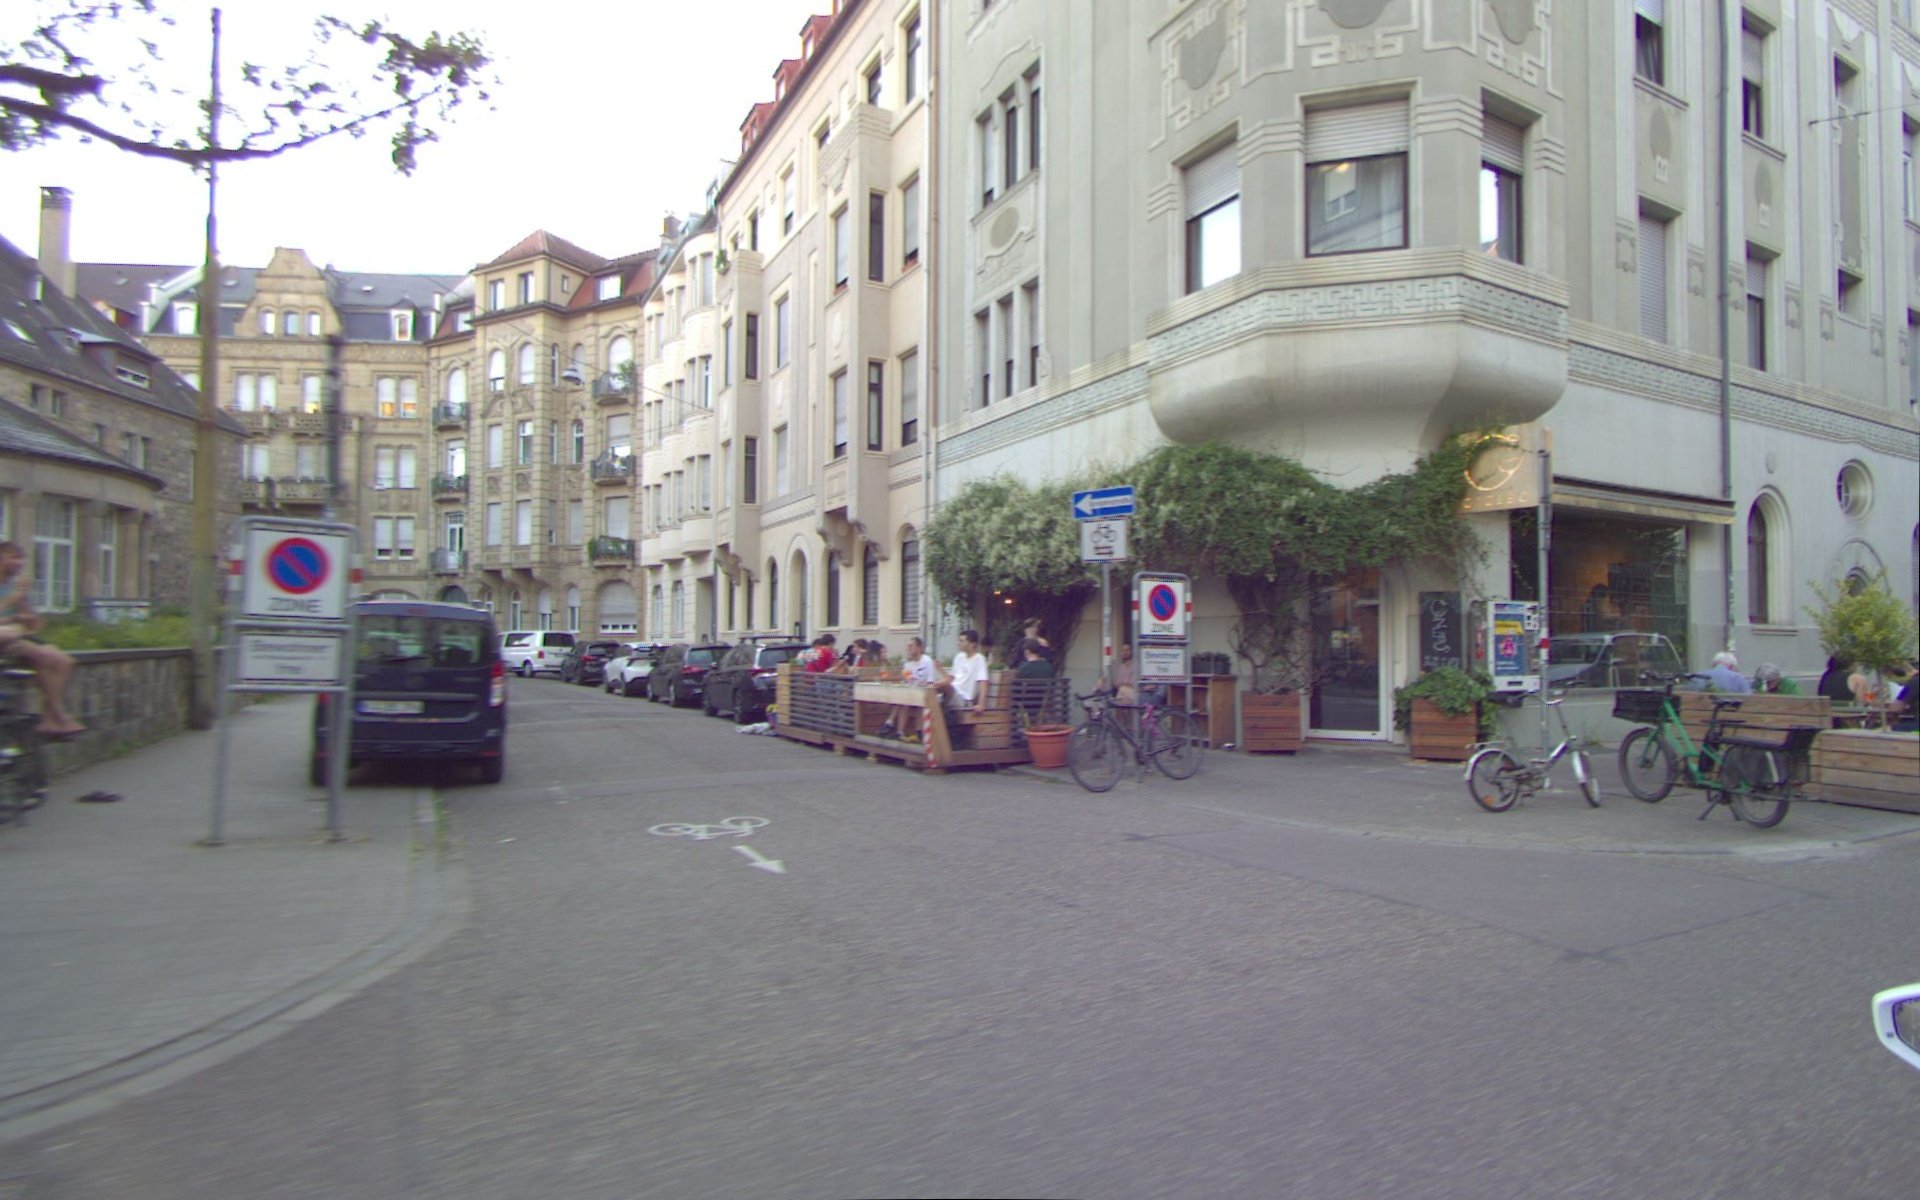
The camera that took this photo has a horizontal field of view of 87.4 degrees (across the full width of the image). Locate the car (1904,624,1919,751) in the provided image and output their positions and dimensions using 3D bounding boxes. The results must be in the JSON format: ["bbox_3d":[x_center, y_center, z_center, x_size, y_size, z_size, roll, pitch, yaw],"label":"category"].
[{"bbox_3d":[14.448,1.142,13.092,4.263,1.612,1.985,2,-2,-30],"label":"car"}]

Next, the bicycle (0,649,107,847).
[{"bbox_3d":[-6.417,0.921,6.751,0.548,1.149,2.131,1,-2,-28],"label":"bicycle"}]

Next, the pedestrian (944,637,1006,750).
[{"bbox_3d":[0.197,1.226,13.402,0.636,1.462,0.569,1,-2,-28],"label":"pedestrian"}]

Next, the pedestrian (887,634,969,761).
[{"bbox_3d":[-0.400,1.168,12.346,0.774,1.488,0.698,1,-2,-30],"label":"pedestrian"}]

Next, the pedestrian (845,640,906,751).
[{"bbox_3d":[-1.123,1.250,13.351,0.636,1.430,0.569,1,-2,-29],"label":"pedestrian"}]

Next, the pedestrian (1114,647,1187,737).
[{"bbox_3d":[2.700,1.280,14.255,0.769,1.230,0.688,1,-2,-28],"label":"pedestrian"}]

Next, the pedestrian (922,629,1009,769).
[{"bbox_3d":[0.063,1.125,11.722,0.774,1.560,0.698,1,-2,-30],"label":"pedestrian"}]

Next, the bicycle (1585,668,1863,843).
[{"bbox_3d":[5.993,1.154,8.068,0.491,1.109,2.116,0,-1,-4],"label":"bicycle"}]

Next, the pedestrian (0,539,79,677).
[{"bbox_3d":[-7.192,0.064,7.458,0.827,0.993,0.703,1,-2,-31],"label":"pedestrian"}]

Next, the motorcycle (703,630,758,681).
[{"bbox_3d":[-7.137,1.684,31.057,0.808,1.514,3.386,1,-2,-28],"label":"motorcycle"}]

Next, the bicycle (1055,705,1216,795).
[{"bbox_3d":[1.792,1.486,10.130,1.759,0.705,0.421,-1,-1,-32],"label":"bicycle"}]

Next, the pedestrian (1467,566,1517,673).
[{"bbox_3d":[8.597,0.318,16.235,0.512,1.676,0.536,1,-1,-29],"label":"pedestrian"}]

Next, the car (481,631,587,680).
[{"bbox_3d":[-18.016,2.313,42.394,5.086,1.884,1.802,0,-4,38],"label":"car"}]

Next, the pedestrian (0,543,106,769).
[{"bbox_3d":[-7.538,0.442,8.106,0.827,1.743,0.703,1,-2,-31],"label":"pedestrian"}]

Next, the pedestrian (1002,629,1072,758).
[{"bbox_3d":[0.922,1.104,12.091,0.637,1.488,0.569,1,-2,-31],"label":"pedestrian"}]

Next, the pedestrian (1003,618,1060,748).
[{"bbox_3d":[0.934,1.068,13.137,0.539,1.642,0.538,1,-2,-30],"label":"pedestrian"}]

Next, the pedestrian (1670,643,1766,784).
[{"bbox_3d":[7.557,1.104,10.016,0.696,1.342,0.535,1,-1,-29],"label":"pedestrian"}]

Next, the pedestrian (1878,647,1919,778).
[{"bbox_3d":[10.294,1.193,10.803,0.604,1.368,0.466,2,-1,-30],"label":"pedestrian"}]

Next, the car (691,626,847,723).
[{"bbox_3d":[-3.793,1.395,19.399,1.719,1.639,4.120,4,-4,-28],"label":"car"}]

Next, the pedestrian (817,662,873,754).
[{"bbox_3d":[-1.601,1.480,13.979,0.567,1.223,0.639,1,-2,-30],"label":"pedestrian"}]

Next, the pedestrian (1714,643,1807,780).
[{"bbox_3d":[8.287,1.128,10.404,0.696,1.342,0.535,1,-1,-29],"label":"pedestrian"}]

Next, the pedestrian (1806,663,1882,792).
[{"bbox_3d":[9.832,1.398,11.173,0.604,1.368,0.466,2,-1,-30],"label":"pedestrian"}]

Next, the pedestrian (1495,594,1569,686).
[{"bbox_3d":[7.550,0.523,13.259,0.739,1.169,0.554,2,-1,-30],"label":"pedestrian"}]

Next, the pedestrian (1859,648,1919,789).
[{"bbox_3d":[9.482,1.154,9.985,0.761,1.342,0.606,2,-1,-30],"label":"pedestrian"}]

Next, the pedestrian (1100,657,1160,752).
[{"bbox_3d":[2.280,1.382,13.456,0.599,1.230,0.528,1,-2,-29],"label":"pedestrian"}]

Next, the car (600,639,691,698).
[{"bbox_3d":[-9.278,1.960,29.435,1.719,1.567,4.120,4,-4,-28],"label":"car"}]

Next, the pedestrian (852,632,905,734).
[{"bbox_3d":[-1.253,1.257,15.434,0.637,1.520,0.569,1,-2,-31],"label":"pedestrian"}]

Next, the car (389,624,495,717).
[{"bbox_3d":[-10.496,1.344,20.266,1.700,1.674,4.181,1,-2,-29],"label":"car"}]

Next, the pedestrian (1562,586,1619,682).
[{"bbox_3d":[9.223,0.499,14.694,0.512,1.368,0.536,1,-1,-28],"label":"pedestrian"}]

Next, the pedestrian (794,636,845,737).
[{"bbox_3d":[-2.108,1.277,15.046,0.567,1.466,0.639,1,-2,-30],"label":"pedestrian"}]

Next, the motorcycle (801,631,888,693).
[{"bbox_3d":[-2.693,1.368,22.906,0.808,1.297,3.386,1,-2,-28],"label":"motorcycle"}]

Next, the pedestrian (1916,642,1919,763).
[{"bbox_3d":[11.178,1.161,11.288,0.534,1.368,0.514,2,-1,-32],"label":"pedestrian"}]

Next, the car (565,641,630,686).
[{"bbox_3d":[-13.844,2.383,38.212,1.719,1.567,3.765,4,-4,-28],"label":"car"}]

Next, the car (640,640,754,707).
[{"bbox_3d":[-6.486,1.747,24.479,1.719,1.448,4.120,4,-4,-28],"label":"car"}]

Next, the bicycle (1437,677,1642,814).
[{"bbox_3d":[4.877,1.194,8.447,1.690,1.026,0.423,0,-1,-16],"label":"bicycle"}]

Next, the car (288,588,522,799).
[{"bbox_3d":[-5.939,0.911,11.118,1.866,1.868,3.975,1,-2,-25],"label":"car"}]

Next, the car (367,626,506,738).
[{"bbox_3d":[-8.307,1.190,15.880,1.700,1.519,4.181,2,-2,-29],"label":"car"}]
